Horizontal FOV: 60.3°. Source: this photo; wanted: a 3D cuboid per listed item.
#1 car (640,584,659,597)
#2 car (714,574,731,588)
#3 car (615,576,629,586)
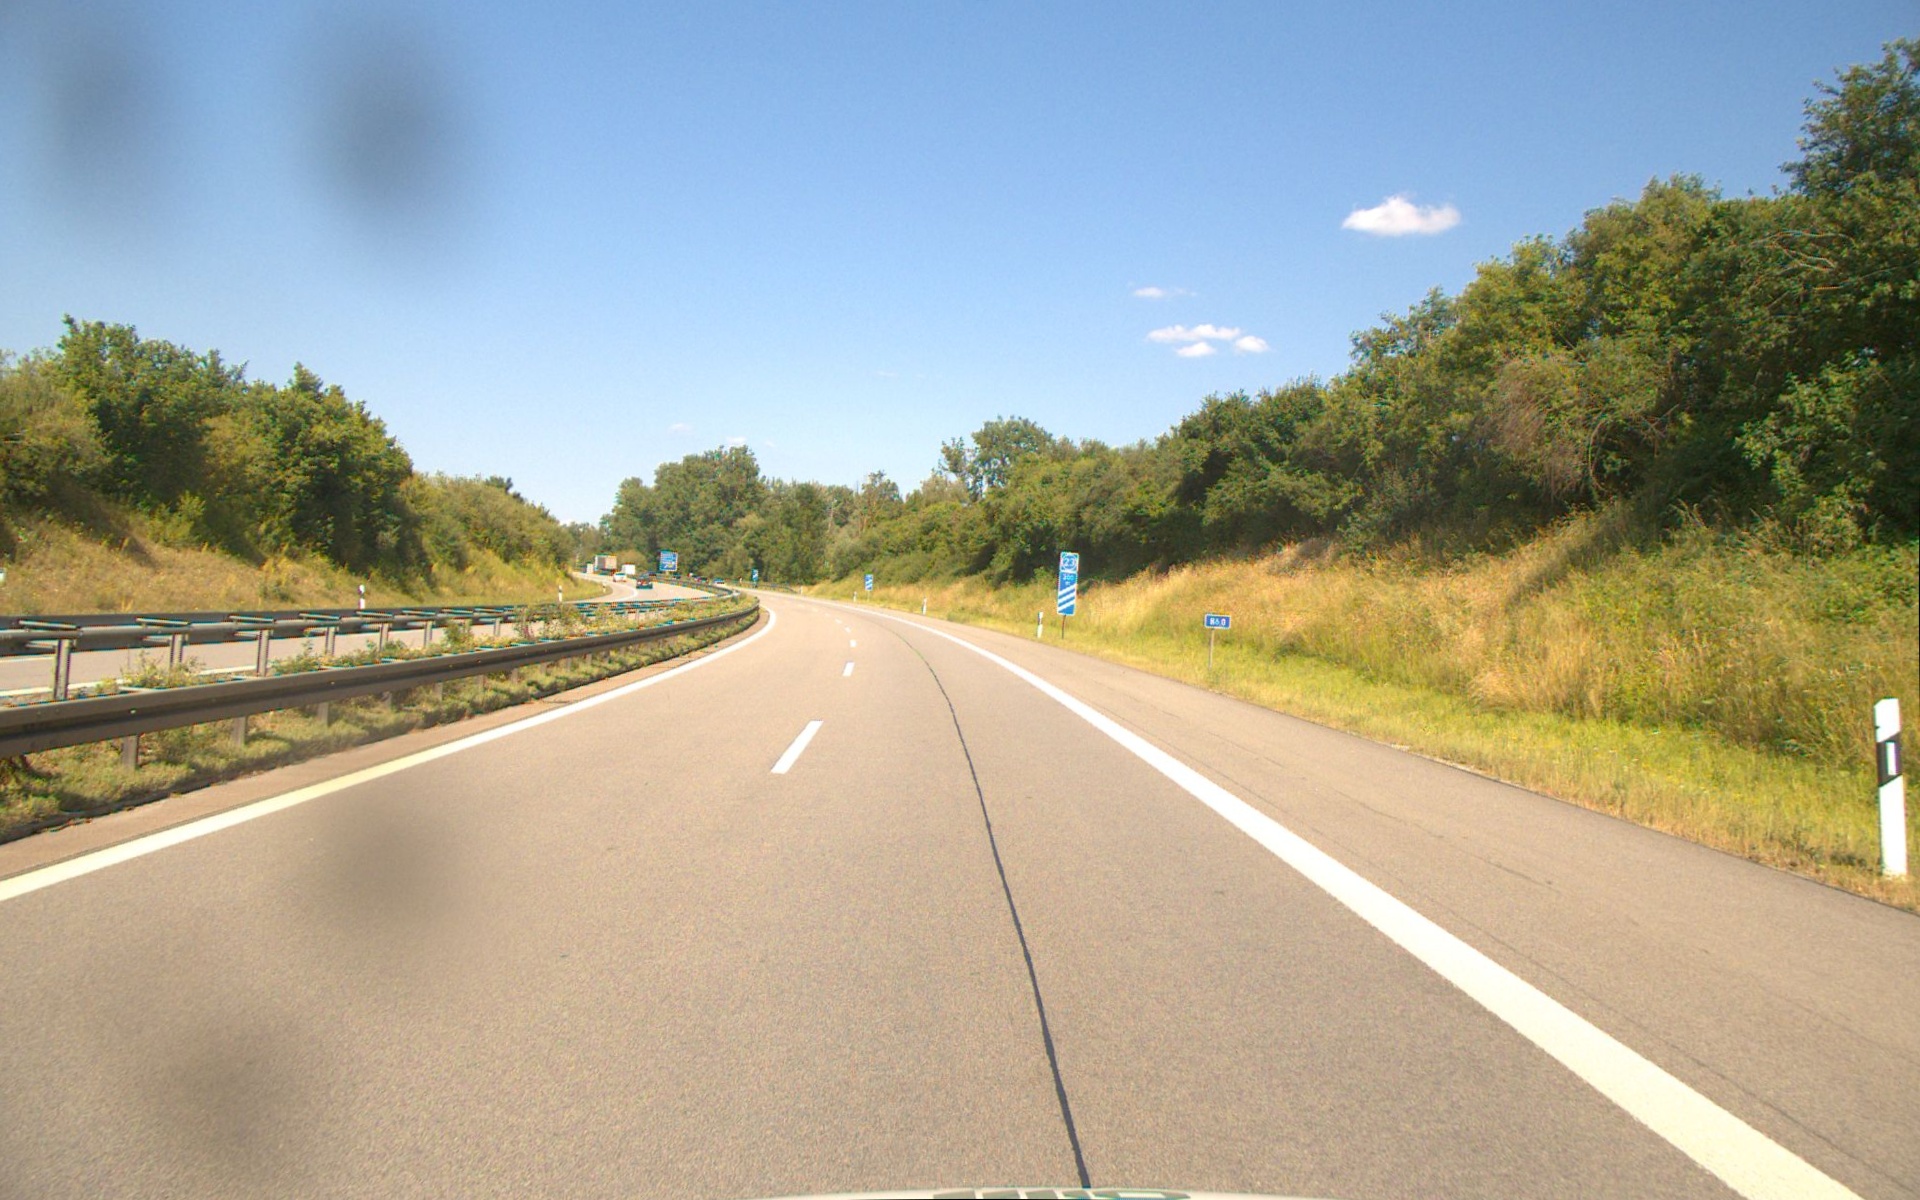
[{"bbox_3d":[-37.235,-1.166,198.370,1.929,1.591,5.166,0,0,-6],"label":"car"},{"bbox_3d":[-31.335,-2.532,218.161,2.024,1.653,3.991,2,-1,-9],"label":"car"},{"bbox_3d":[-51.432,-2.910,252.070,1.864,1.447,4.390,0,1,-9],"label":"car"}]
